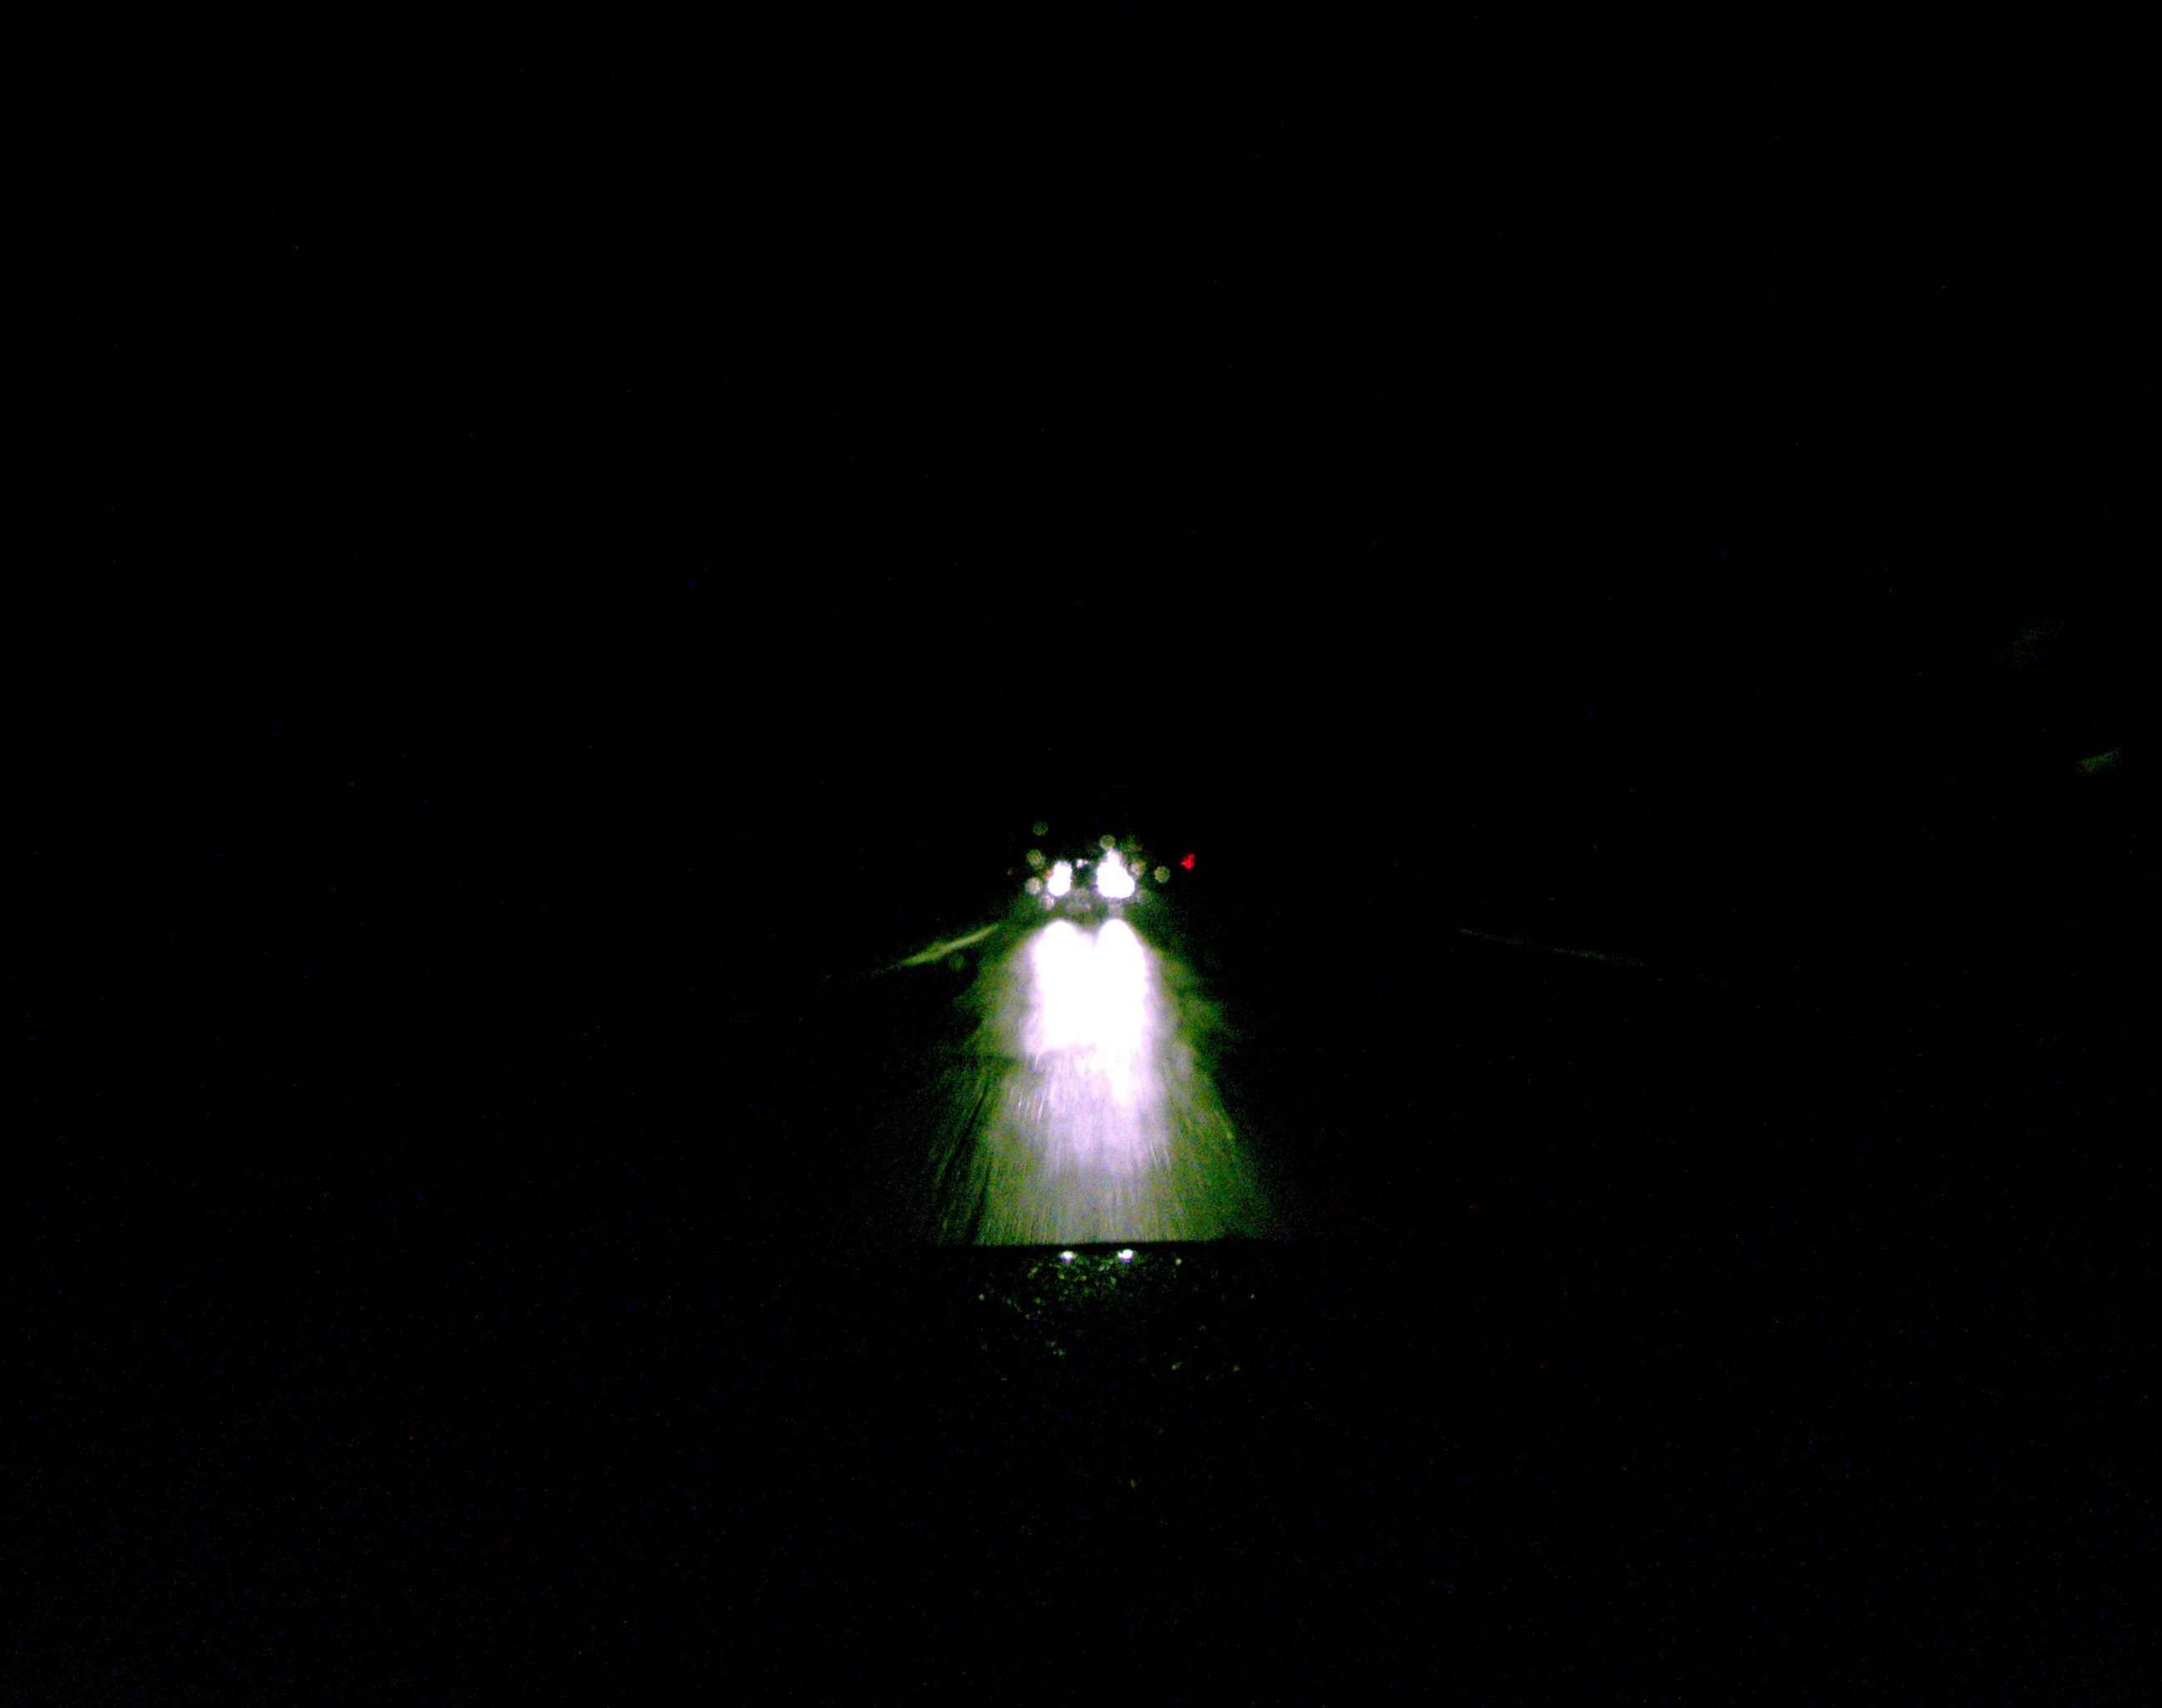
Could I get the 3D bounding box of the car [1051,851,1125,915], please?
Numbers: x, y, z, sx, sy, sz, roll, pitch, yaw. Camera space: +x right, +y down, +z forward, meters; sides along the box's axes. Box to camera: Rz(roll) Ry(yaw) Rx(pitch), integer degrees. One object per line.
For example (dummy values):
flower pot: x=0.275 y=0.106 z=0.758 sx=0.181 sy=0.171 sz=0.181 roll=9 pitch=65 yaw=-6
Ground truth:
car: x=0.207 y=0.738 z=21.599 sx=1.846 sy=1.565 sz=4.000 roll=-2 pitch=1 yaw=1

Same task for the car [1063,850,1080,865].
car: x=-1.090 y=0.392 z=90.677 sx=1.846 sy=1.565 sz=4.000 roll=-2 pitch=1 yaw=1
